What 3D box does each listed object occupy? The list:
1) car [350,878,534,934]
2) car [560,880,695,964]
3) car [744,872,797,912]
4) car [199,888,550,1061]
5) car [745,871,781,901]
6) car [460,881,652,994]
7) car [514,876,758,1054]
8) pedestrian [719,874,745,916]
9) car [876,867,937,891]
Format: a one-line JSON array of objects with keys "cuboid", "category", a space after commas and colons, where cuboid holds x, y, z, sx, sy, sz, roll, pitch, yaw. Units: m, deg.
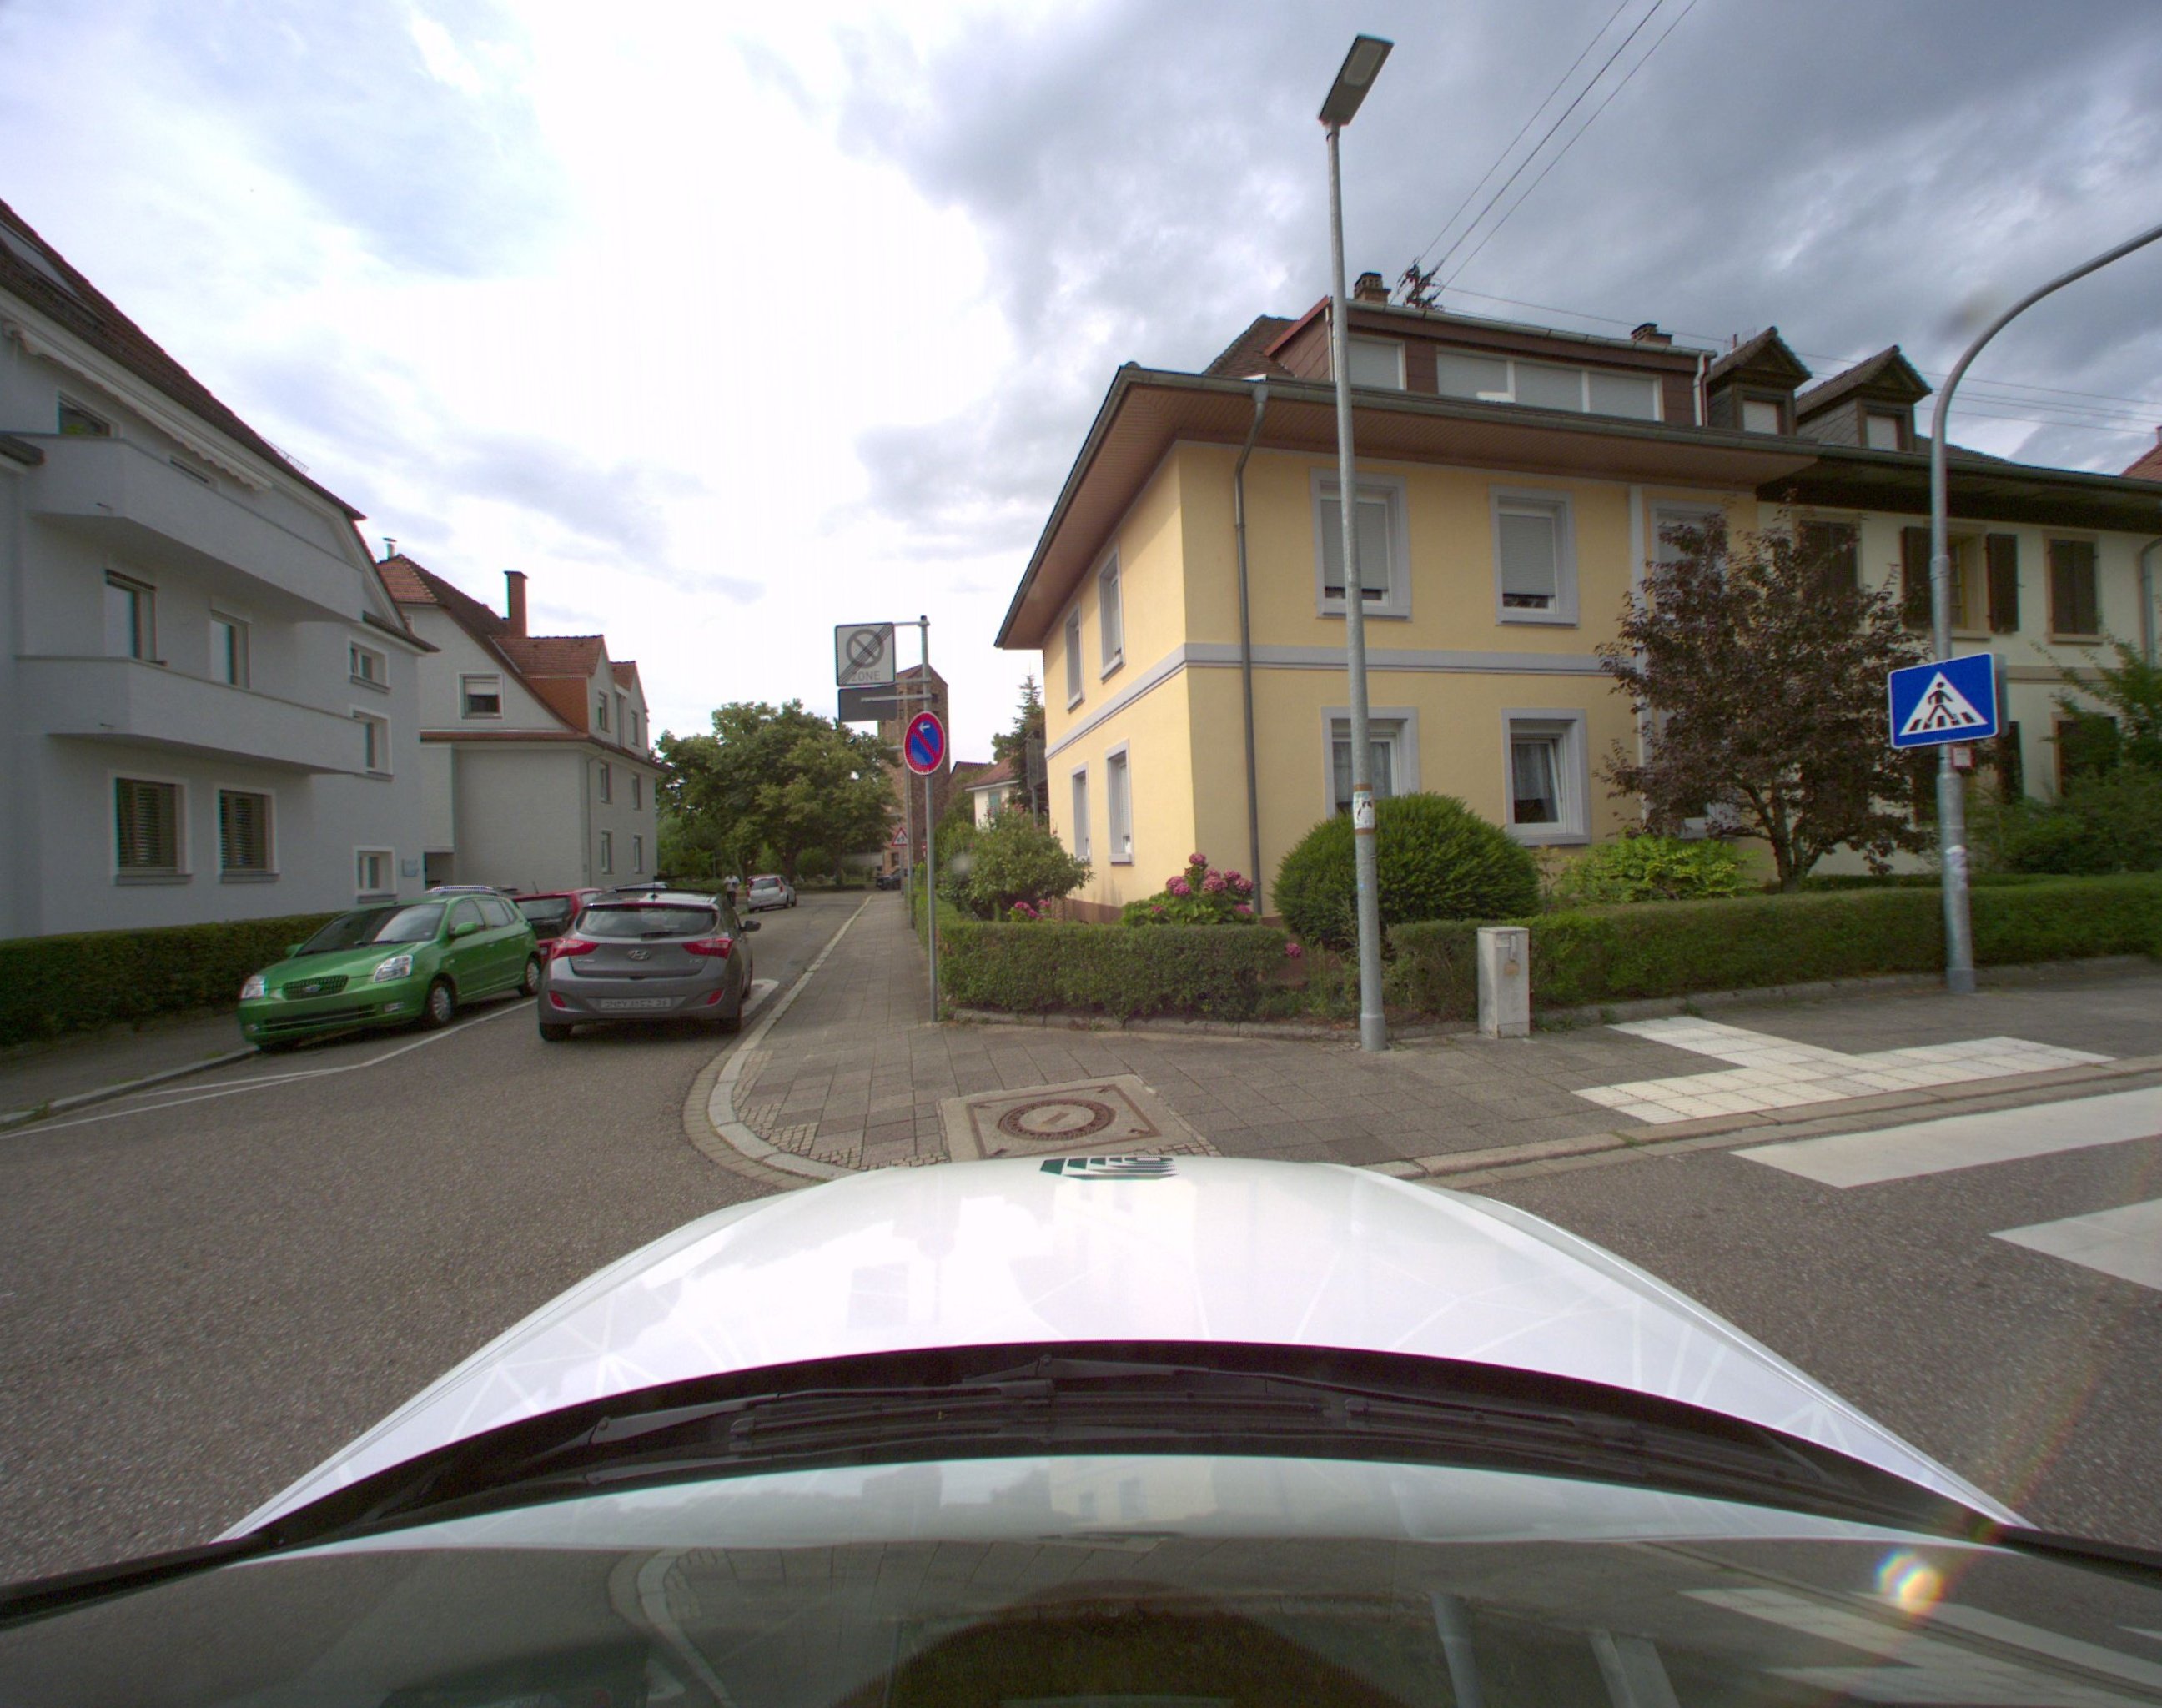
[{"cuboid": [-19.863, 1.586, 25.522, 3.991, 1.464, 1.991, -2, -1, -13], "category": "car"}, {"cuboid": [-10.037, 1.423, 18.301, 1.648, 1.495, 3.464, -5, 0, -14], "category": "car"}, {"cuboid": [-13.807, 1.653, 36.367, 1.648, 1.495, 3.464, -5, 0, -14], "category": "car"}, {"cuboid": [-8.013, 1.239, 9.707, 1.648, 1.421, 3.464, -5, 0, -14], "category": "car"}, {"cuboid": [-18.068, 1.823, 46.398, 1.651, 1.495, 3.458, -5, 0, -19], "category": "car"}, {"cuboid": [-8.897, 1.317, 14.151, 1.648, 1.495, 3.464, -5, 0, -14], "category": "car"}, {"cuboid": [-4.816, 1.041, 9.418, 1.855, 1.481, 4.013, -2, -1, -20], "category": "car"}, {"cuboid": [-16.433, 1.917, 38.375, 0.882, 1.878, 1.074, -2, -1, -13], "category": "pedestrian"}, {"cuboid": [-12.555, 1.789, 58.561, 4.220, 1.464, 1.676, -2, 1, -14], "category": "car"}]
